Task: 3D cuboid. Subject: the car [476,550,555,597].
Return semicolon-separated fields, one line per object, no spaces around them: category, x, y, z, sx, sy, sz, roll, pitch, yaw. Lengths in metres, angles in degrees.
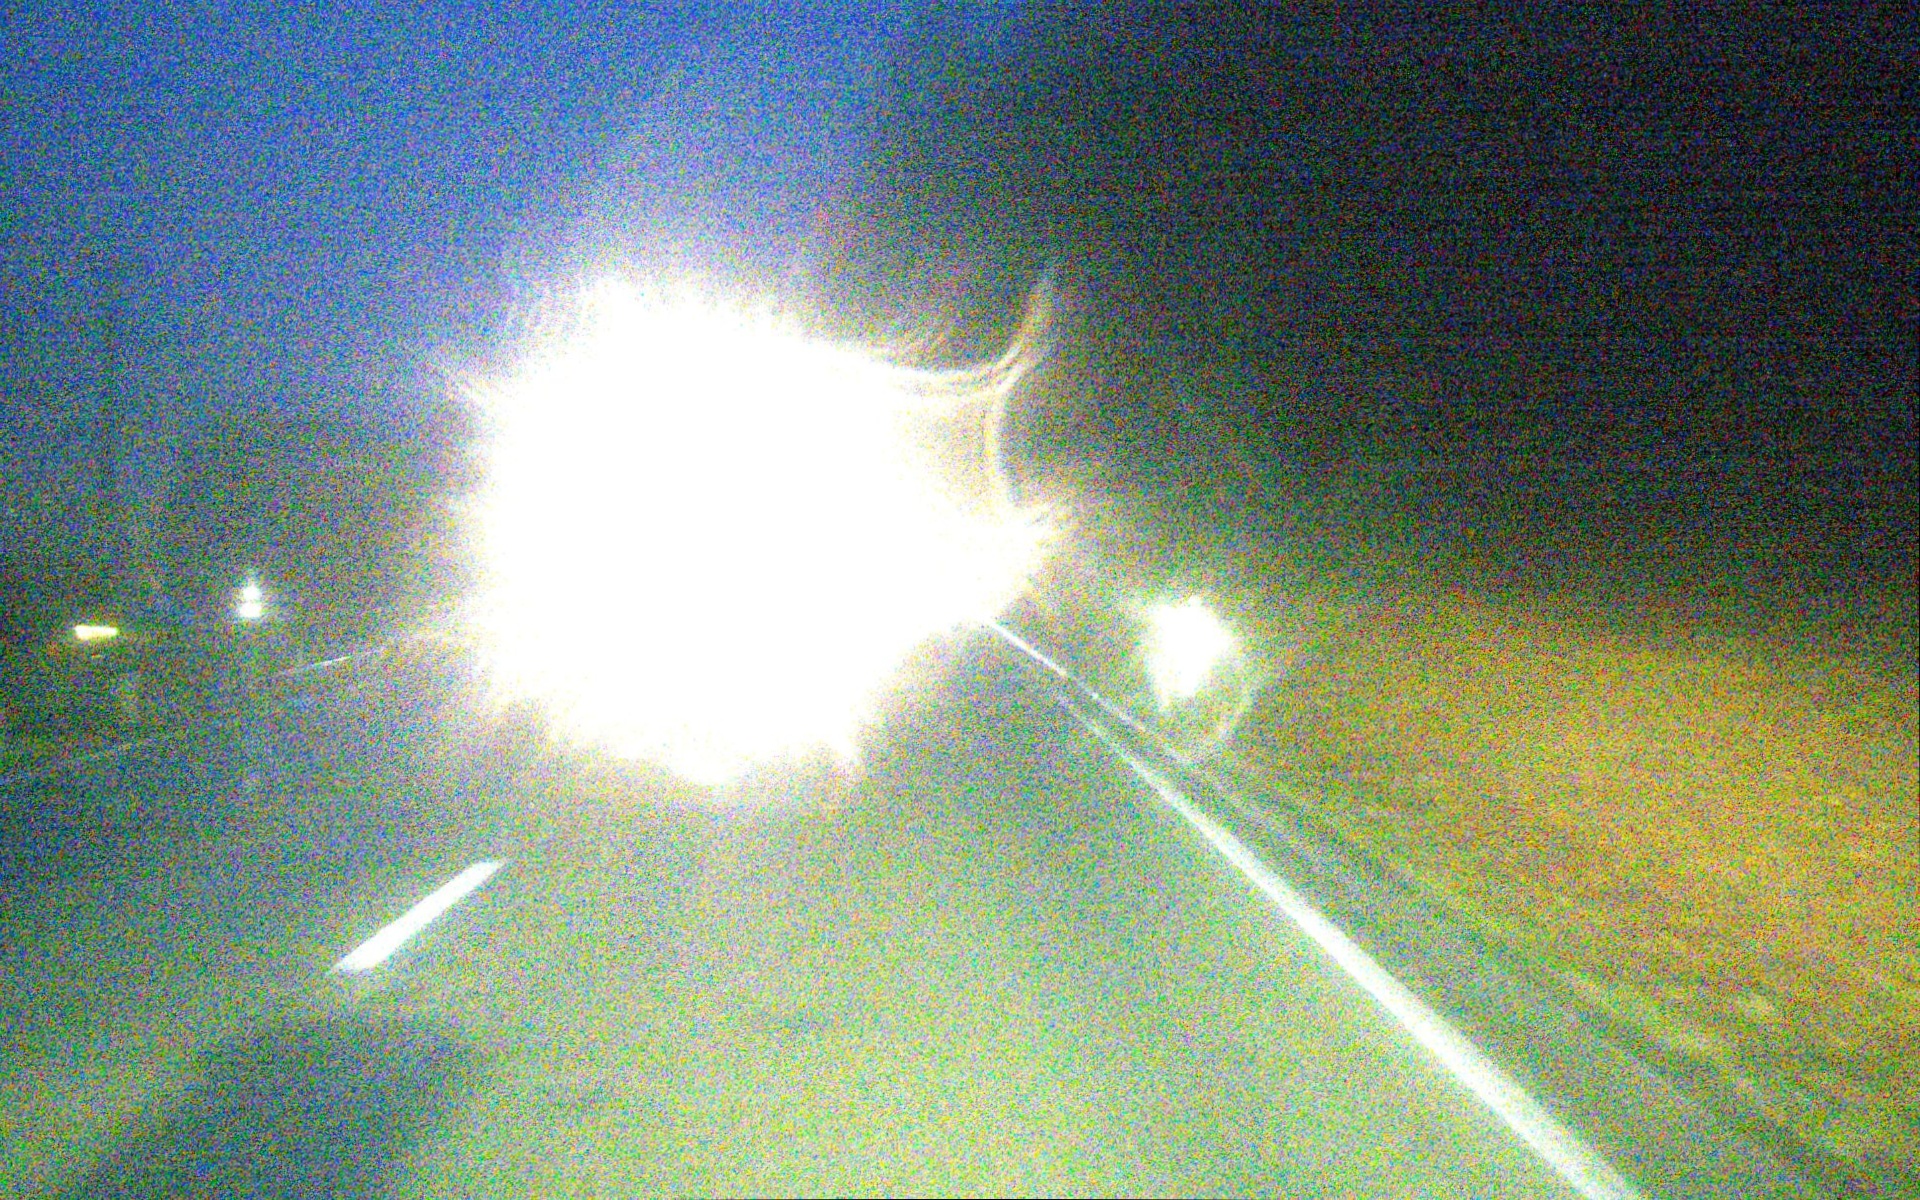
car;-14.399;-0.870;111.595;1.993;1.443;4.430;1;1;0

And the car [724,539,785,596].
car;-7.468;-1.202;125.039;1.993;2.007;4.000;1;1;-1

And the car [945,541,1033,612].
car;0.676;-0.564;80.667;1.993;1.612;4.000;1;1;0
